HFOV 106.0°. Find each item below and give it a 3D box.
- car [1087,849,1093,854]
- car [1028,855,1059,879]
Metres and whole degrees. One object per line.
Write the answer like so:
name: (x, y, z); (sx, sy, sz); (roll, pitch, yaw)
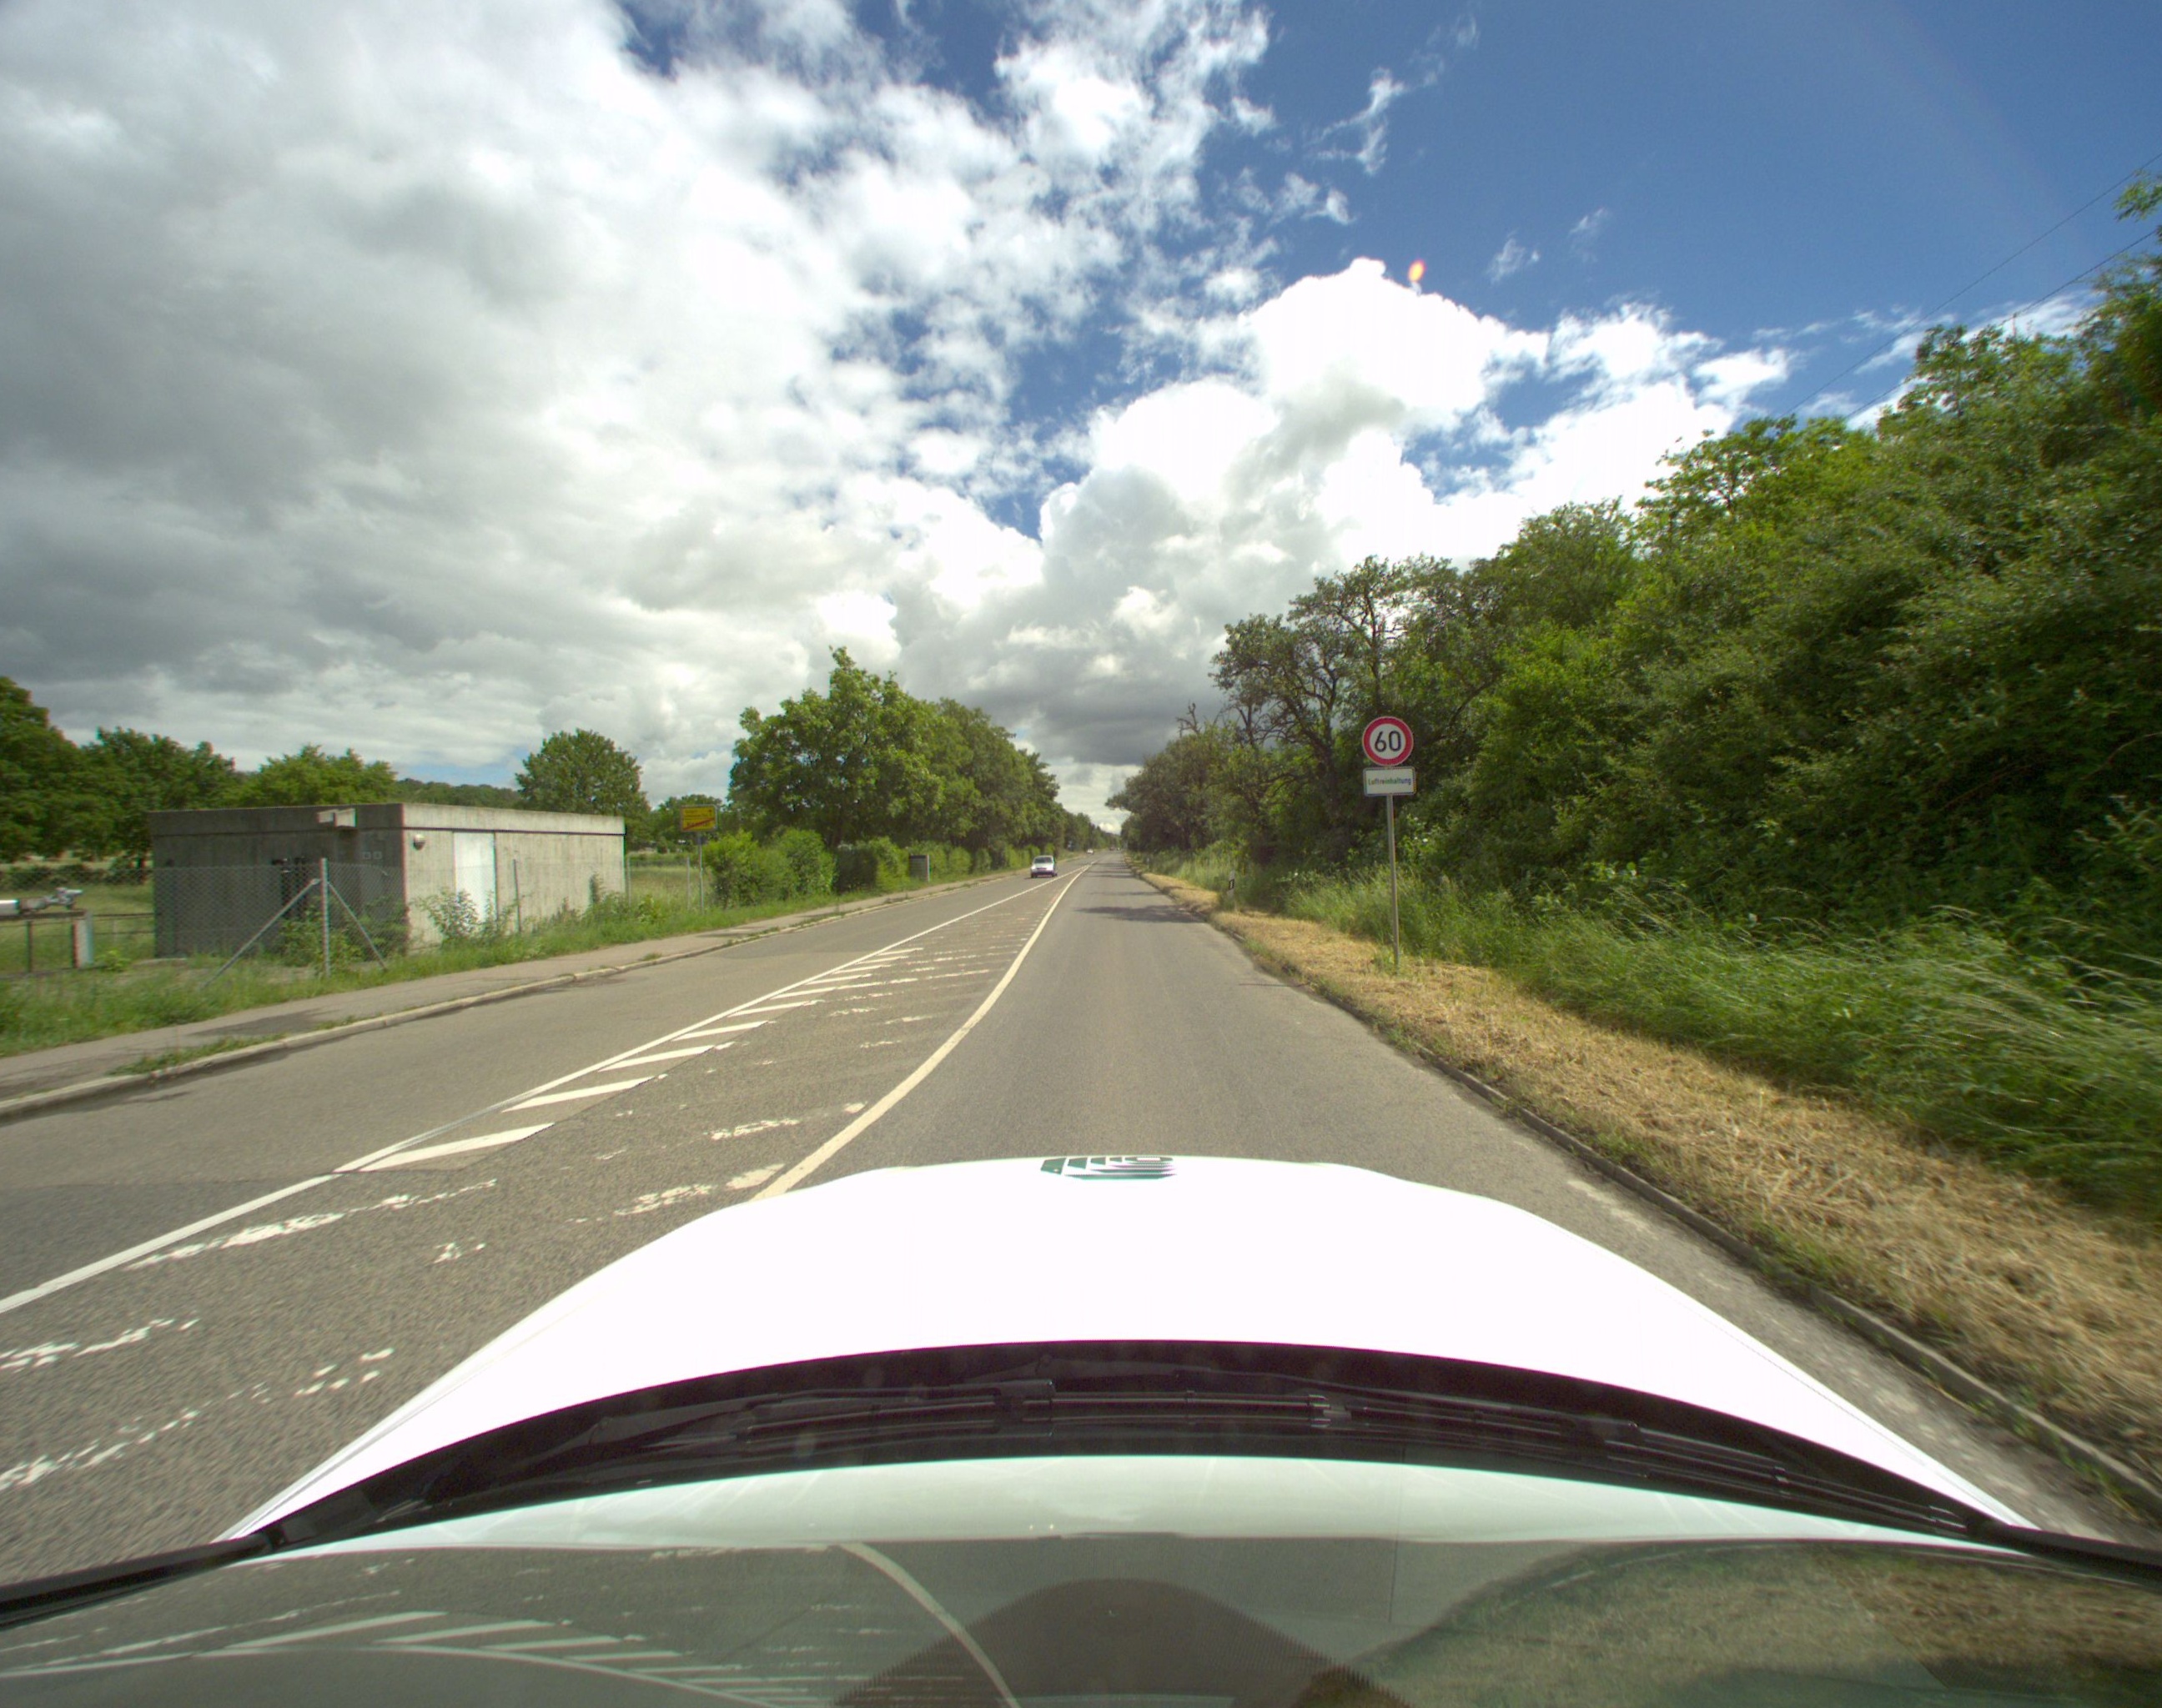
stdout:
car: (2.747, -0.740, 251.105); (1.791, 1.543, 3.958); (-2, -1, 3)
car: (-2.485, 0.823, 54.523); (1.654, 1.432, 3.696); (-3, 1, 3)
